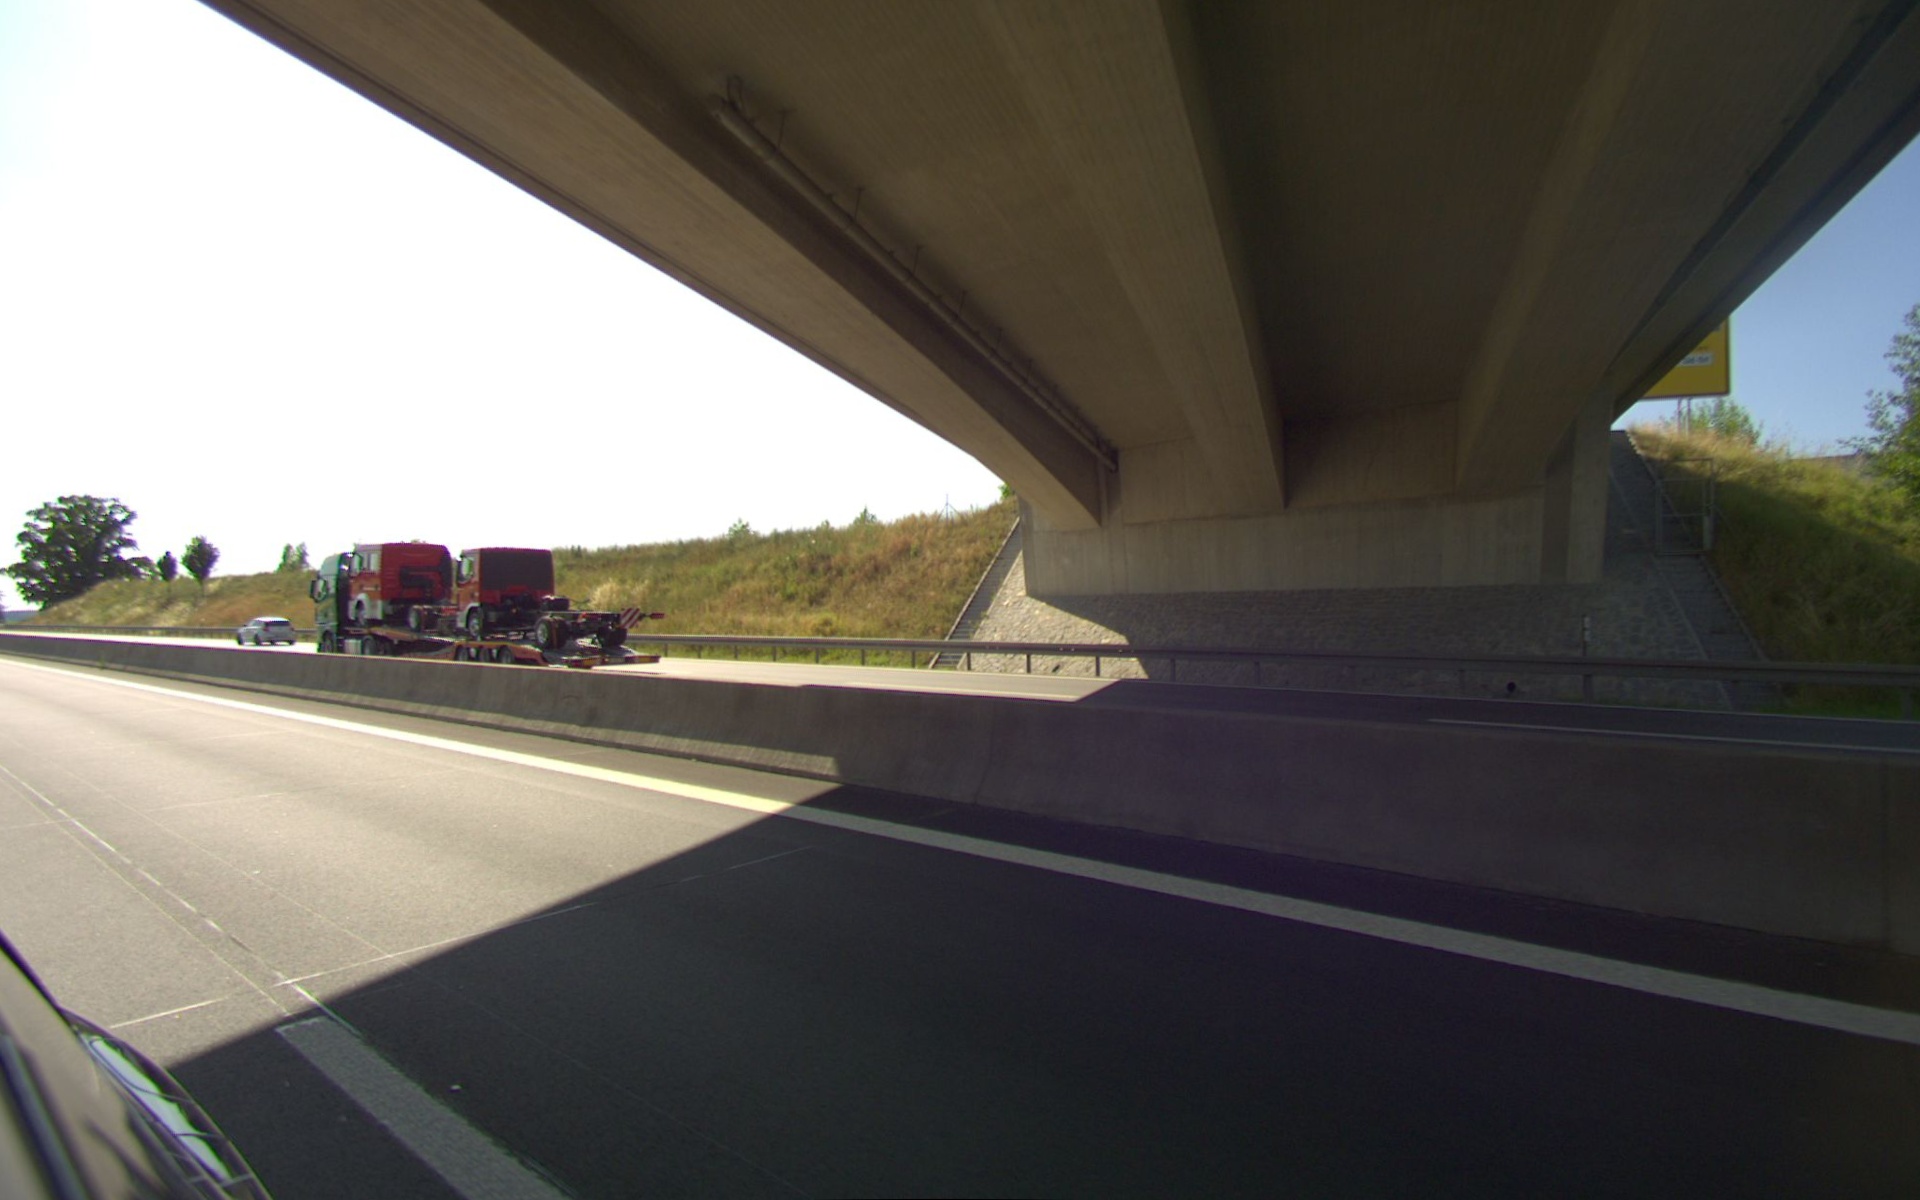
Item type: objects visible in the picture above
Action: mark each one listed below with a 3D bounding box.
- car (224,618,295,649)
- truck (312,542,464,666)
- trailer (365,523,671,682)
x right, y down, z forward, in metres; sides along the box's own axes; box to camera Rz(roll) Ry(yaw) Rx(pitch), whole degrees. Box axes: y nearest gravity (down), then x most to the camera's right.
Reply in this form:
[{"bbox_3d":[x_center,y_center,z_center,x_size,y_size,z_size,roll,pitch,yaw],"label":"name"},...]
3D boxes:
[{"bbox_3d":[-36.770,1.749,53.083,4.563,1.542,1.843,-1,-1,39],"label":"car"},{"bbox_3d":[-19.579,0.177,34.515,5.827,3.861,2.707,-1,-1,41],"label":"truck"},{"bbox_3d":[-13.121,0.161,28.896,13.229,3.685,2.637,-1,-1,41],"label":"trailer"}]
